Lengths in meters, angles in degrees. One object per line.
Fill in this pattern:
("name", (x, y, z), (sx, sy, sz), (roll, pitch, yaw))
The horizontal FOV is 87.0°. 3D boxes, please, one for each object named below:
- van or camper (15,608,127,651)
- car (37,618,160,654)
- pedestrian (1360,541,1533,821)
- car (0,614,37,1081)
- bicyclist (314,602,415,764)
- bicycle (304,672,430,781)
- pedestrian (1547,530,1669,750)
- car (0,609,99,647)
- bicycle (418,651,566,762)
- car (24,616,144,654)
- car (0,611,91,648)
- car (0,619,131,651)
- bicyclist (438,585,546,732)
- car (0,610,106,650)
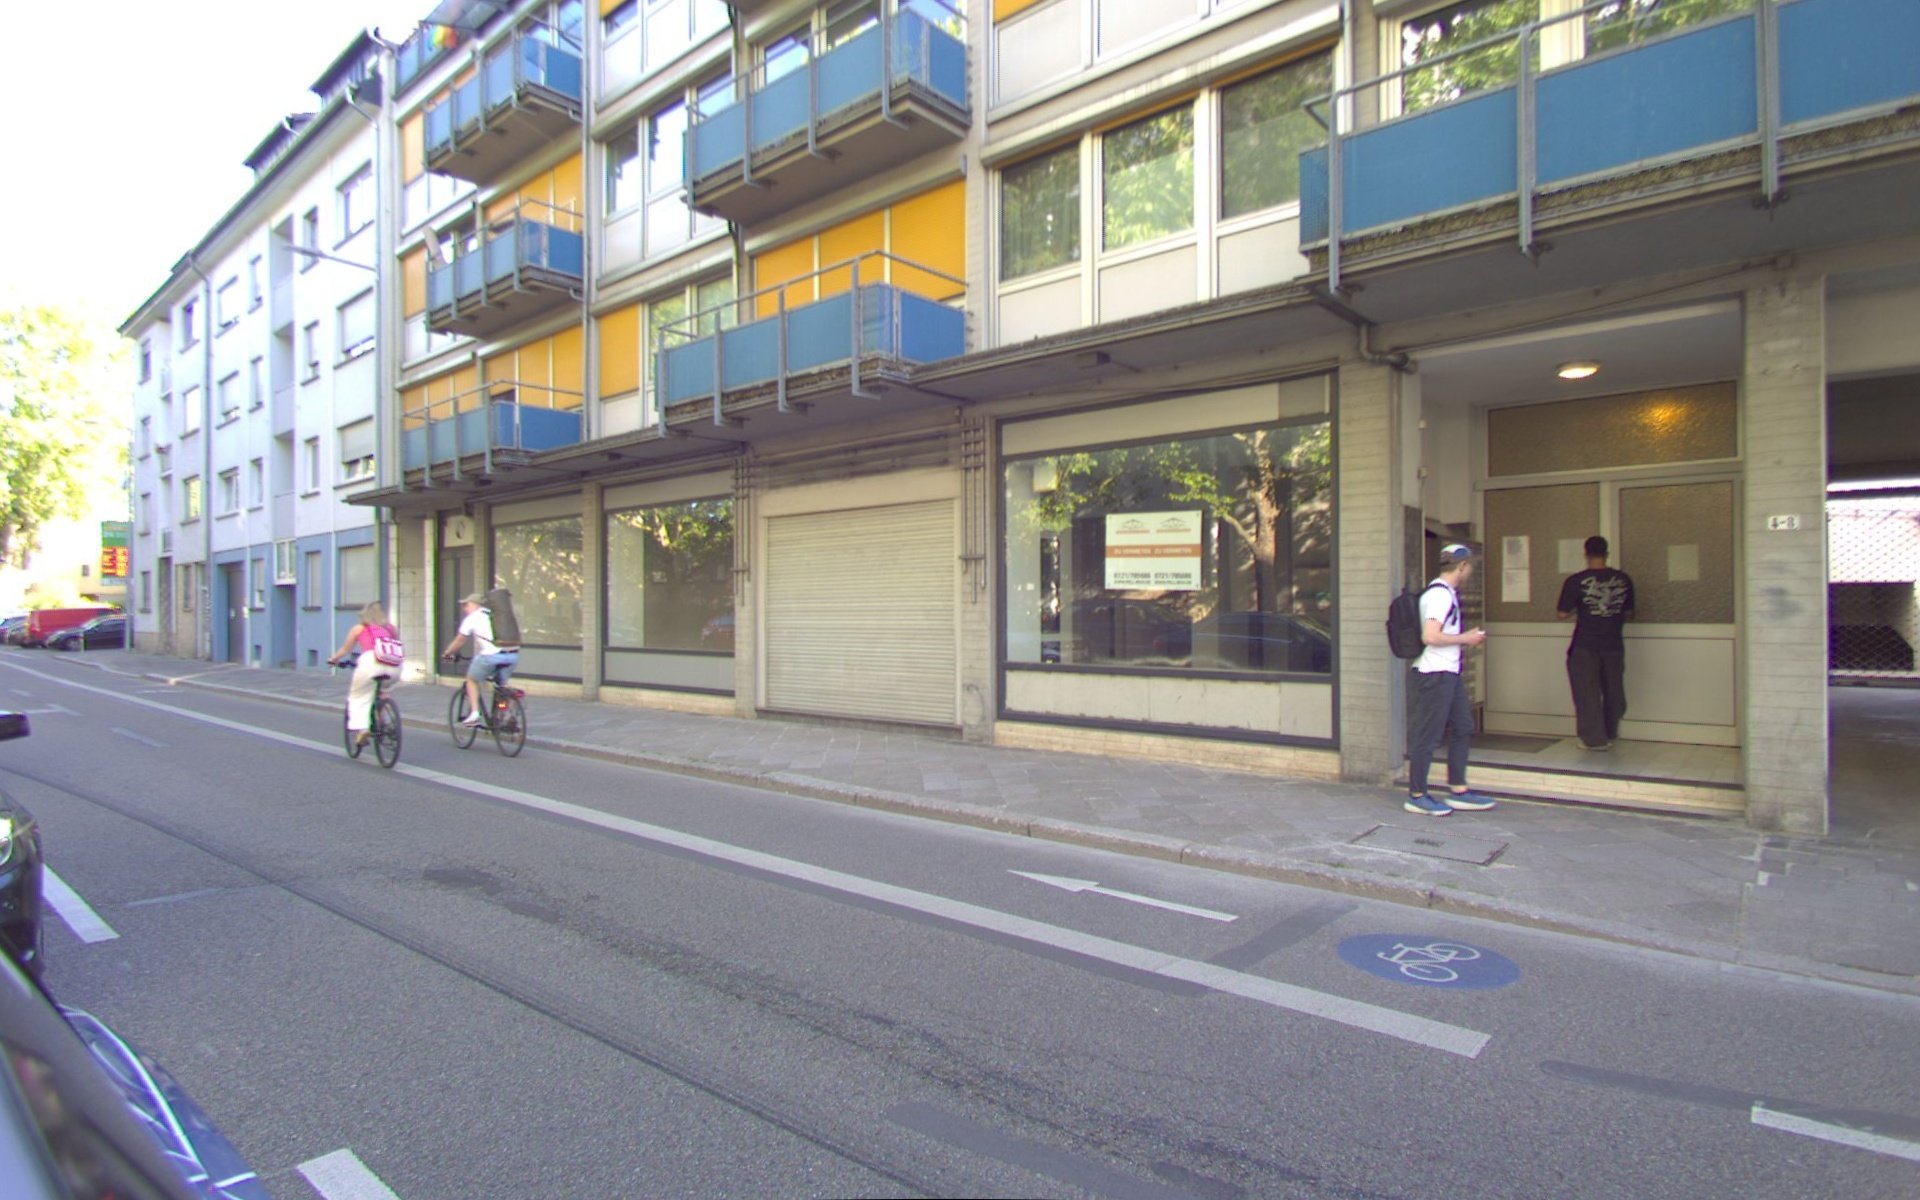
("van or camper", (-43.881, 1.428, 50.004), (1.999, 2.029, 3.946), (-1, -1, 40))
("car", (-39.744, 1.629, 46.777), (1.999, 1.506, 4.093), (-1, -1, 41))
("pedestrian", (3.291, 0.537, 6.911), (0.869, 1.813, 0.600), (-2, 0, 8))
("car", (-4.987, 0.810, 3.843), (3.861, 1.467, 1.718), (-1, -1, 40))
("bicyclist", (-6.205, 0.819, 10.529), (0.982, 1.590, 0.677), (-2, -1, 44))
("bicycle", (-6.194, 1.265, 10.523), (1.864, 0.936, 0.685), (-1, -1, 45))
("pedestrian", (5.284, 0.318, 8.286), (0.655, 1.726, 0.546), (-1, -1, 13))
("car", (-55.394, 1.669, 61.145), (1.999, 2.210, 4.927), (-1, -1, 41))
("bicycle", (-5.312, 1.151, 11.443), (1.835, 1.087, 0.854), (-1, -1, 41))
("car", (-41.625, 1.617, 48.161), (1.999, 1.703, 4.093), (-1, -1, 41))
("car", (-57.387, 1.819, 62.855), (1.999, 2.210, 4.927), (-1, -1, 41))
("car", (-45.713, 1.748, 51.696), (1.999, 1.506, 4.927), (-1, -1, 41))
("bicyclist", (-5.266, 0.633, 11.394), (0.839, 1.566, 0.833), (-1, -1, 40))
("car", (-53.306, 1.733, 59.194), (1.999, 2.210, 4.927), (-1, -1, 41))
